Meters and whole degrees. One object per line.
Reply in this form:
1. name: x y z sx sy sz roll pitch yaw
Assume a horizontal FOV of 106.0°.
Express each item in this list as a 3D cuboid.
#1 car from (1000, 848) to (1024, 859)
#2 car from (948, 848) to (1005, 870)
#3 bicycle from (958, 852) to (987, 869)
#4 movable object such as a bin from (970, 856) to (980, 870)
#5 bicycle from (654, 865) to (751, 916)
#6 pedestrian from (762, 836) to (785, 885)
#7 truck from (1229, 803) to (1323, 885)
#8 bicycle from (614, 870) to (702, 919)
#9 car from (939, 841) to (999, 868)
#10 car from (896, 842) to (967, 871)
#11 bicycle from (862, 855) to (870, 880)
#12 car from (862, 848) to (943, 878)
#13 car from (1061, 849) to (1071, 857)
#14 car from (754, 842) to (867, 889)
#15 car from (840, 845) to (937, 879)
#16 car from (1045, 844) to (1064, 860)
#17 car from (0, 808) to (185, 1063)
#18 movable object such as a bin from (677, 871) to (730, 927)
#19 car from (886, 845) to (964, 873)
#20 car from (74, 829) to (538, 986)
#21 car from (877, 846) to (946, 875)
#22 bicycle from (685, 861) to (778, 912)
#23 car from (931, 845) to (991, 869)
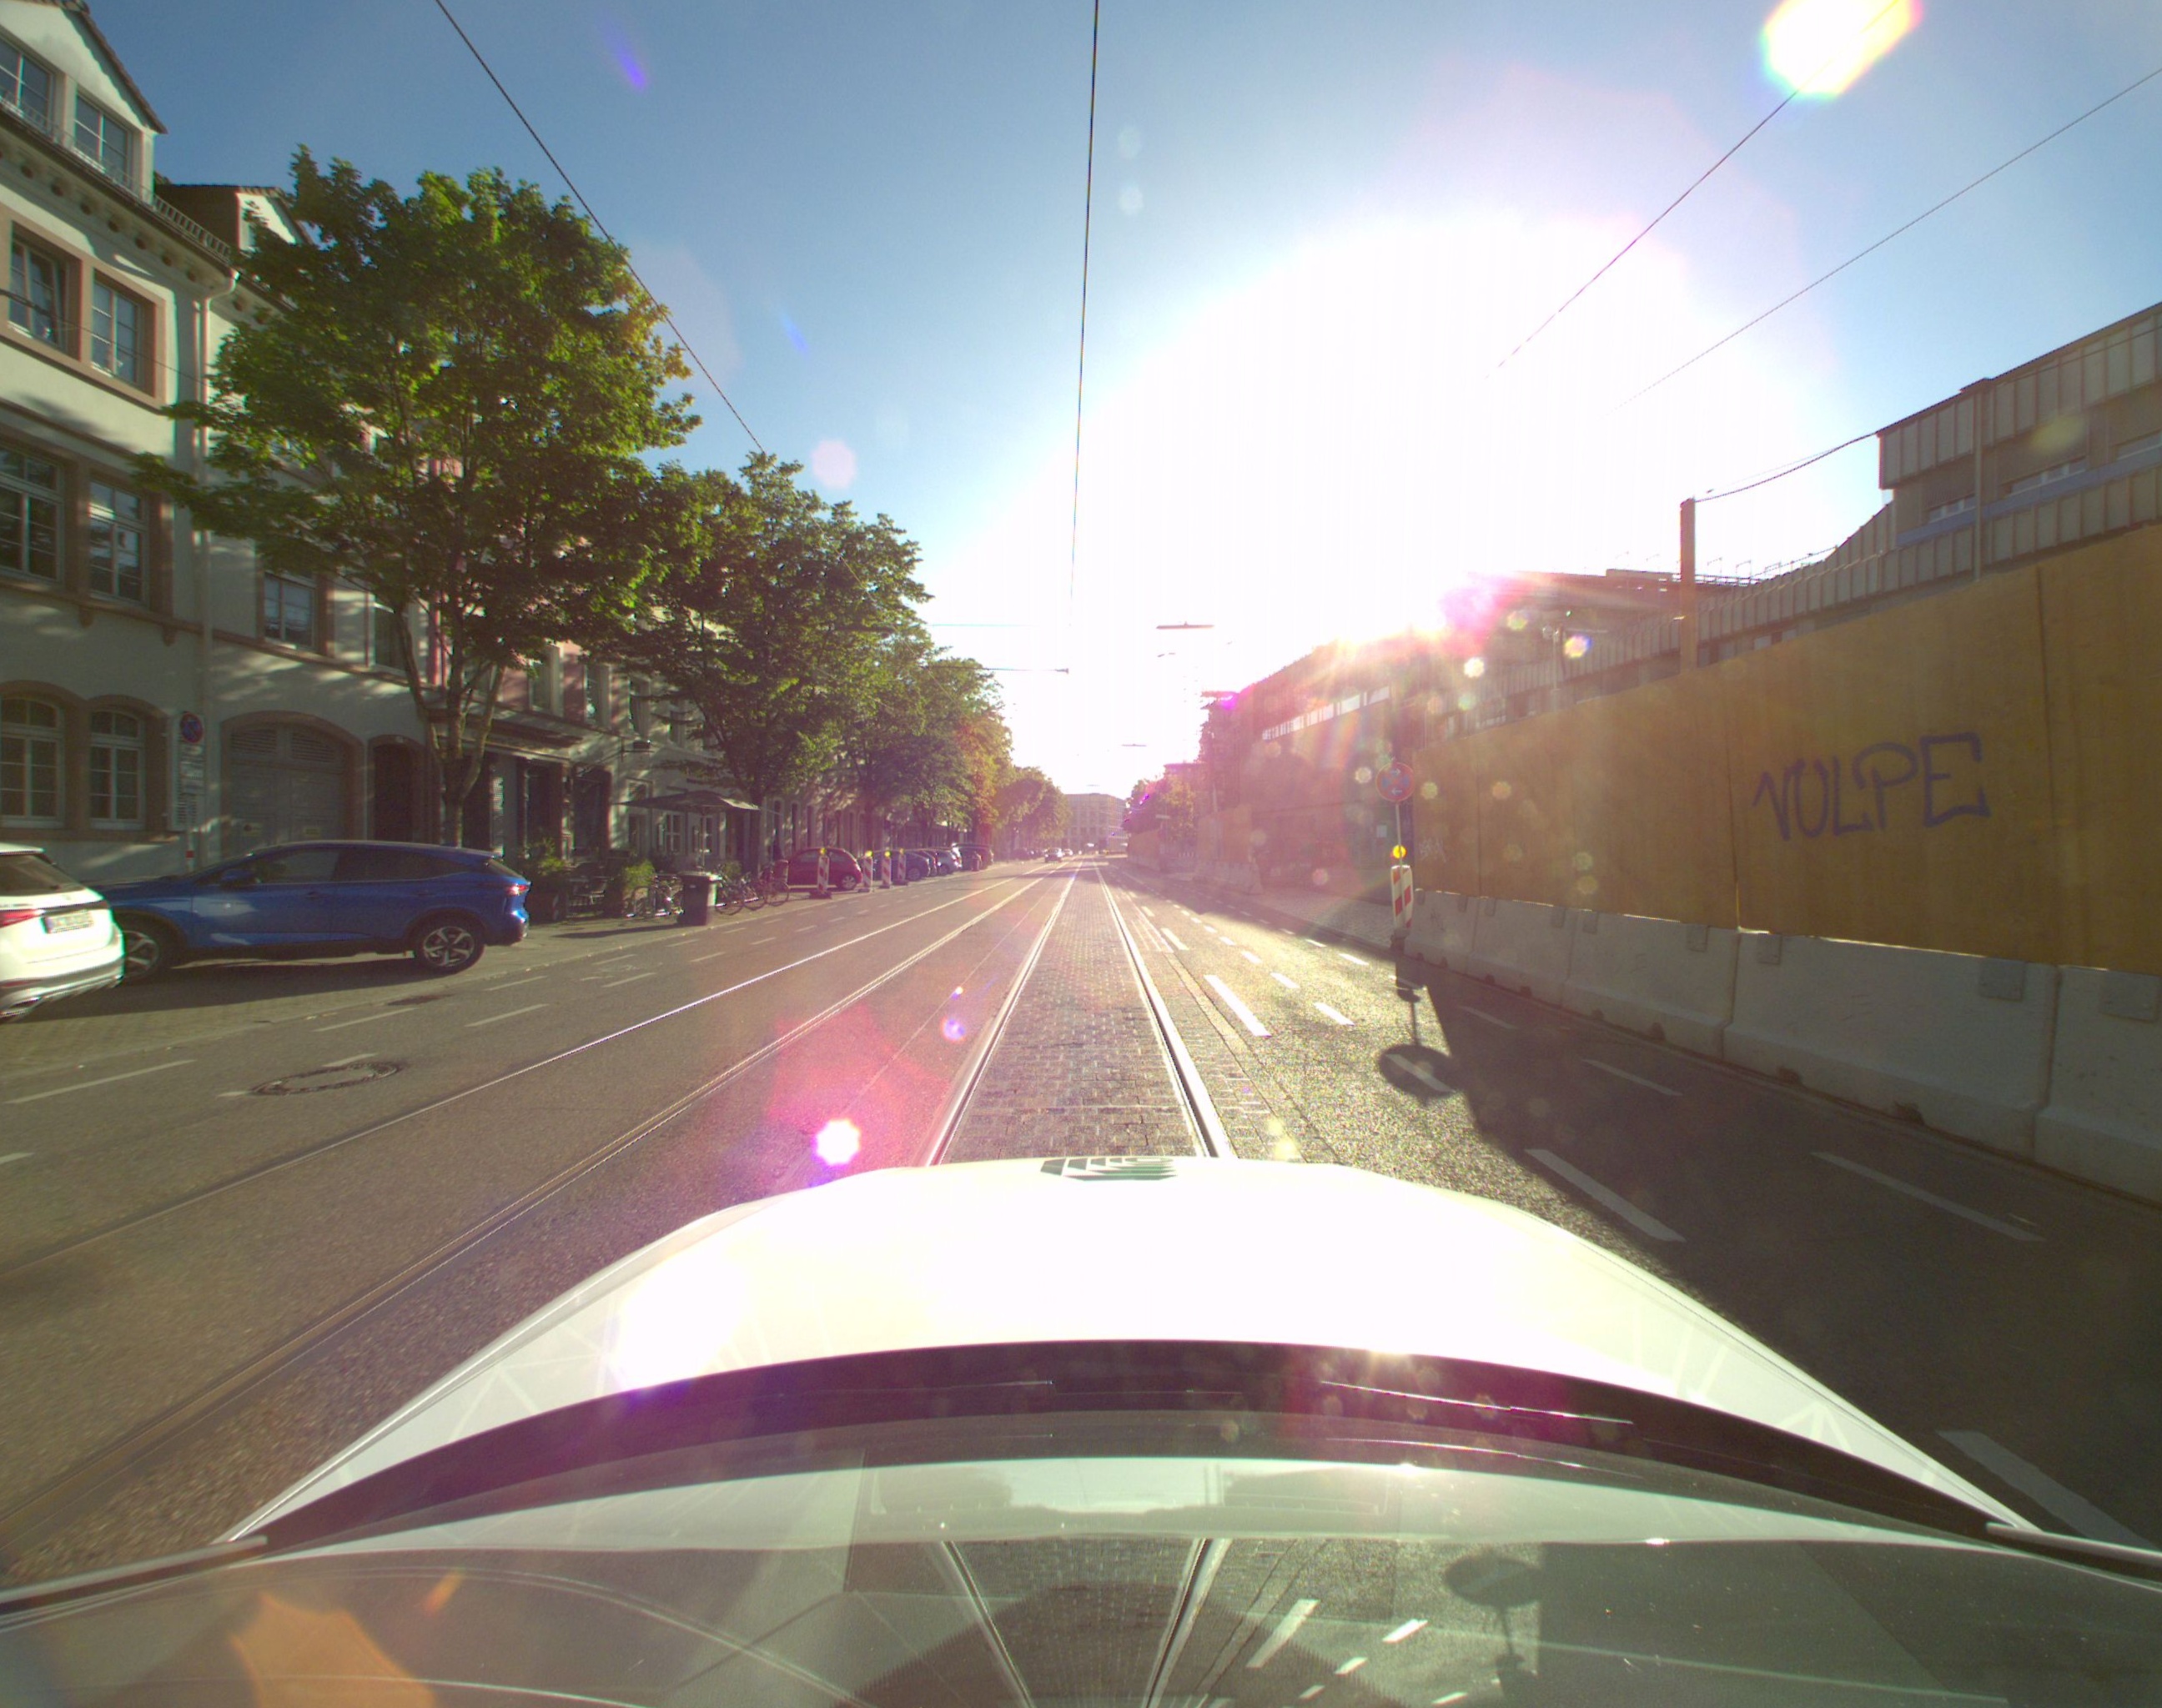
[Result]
1. car: -9.047 -0.059 106.848 2.950 1.332 1.205 -1 0 -28
2. car: -7.618 0.335 59.443 3.866 1.476 1.833 -1 1 -18
3. bicycle: -7.659 0.468 57.578 1.970 1.144 0.490 1 0 -18
4. movable object such as a bin: -7.395 0.611 56.866 0.576 0.913 0.572 2 1 -16
5. bicycle: -8.805 0.832 18.991 1.960 1.079 0.569 2 0 2
6. pedestrian: -13.031 0.270 34.478 0.728 2.013 0.557 0 0 1
7. truck: 7.709 -0.396 32.911 2.510 2.909 5.510 -3 0 2
8. bicycle: -8.972 0.861 17.310 1.599 0.988 0.387 1 0 -11
9. car: -8.887 0.012 64.462 4.370 1.986 1.935 2 0 -22
10. car: -9.301 0.152 50.847 4.093 1.677 1.840 2 0 -2
11. bicycle: -9.586 0.601 36.329 0.333 1.095 1.586 -1 0 -15
12. car: -9.100 0.456 41.627 3.693 1.470 1.737 1 0 -29
13. car: -2.793 -0.176 154.693 1.703 1.436 4.172 0 1 1
14. car: -9.718 0.416 29.269 3.631 1.553 1.655 1 2 -26
15. car: -9.214 0.389 39.037 4.211 1.491 1.927 1 0 -27
16. car: -2.935 -0.241 91.420 1.921 1.629 4.250 -2 2 1
17. car: -10.179 0.581 5.576 4.953 1.794 2.189 0 0 -29
18. movable object such as a bin: -7.715 0.909 16.656 0.681 1.078 0.710 3 1 2
19. car: -9.092 0.309 47.386 4.125 1.512 1.825 1 1 -26
20. car: -9.189 0.601 10.162 3.919 1.609 1.556 2 -1 -37
21. car: -9.242 0.359 44.485 3.381 1.493 1.599 1 1 -28
22. bicycle: -8.707 0.803 20.318 1.995 1.087 0.568 4 0 2
23. car: -9.110 0.220 61.689 4.250 1.685 1.798 -1 1 -21
